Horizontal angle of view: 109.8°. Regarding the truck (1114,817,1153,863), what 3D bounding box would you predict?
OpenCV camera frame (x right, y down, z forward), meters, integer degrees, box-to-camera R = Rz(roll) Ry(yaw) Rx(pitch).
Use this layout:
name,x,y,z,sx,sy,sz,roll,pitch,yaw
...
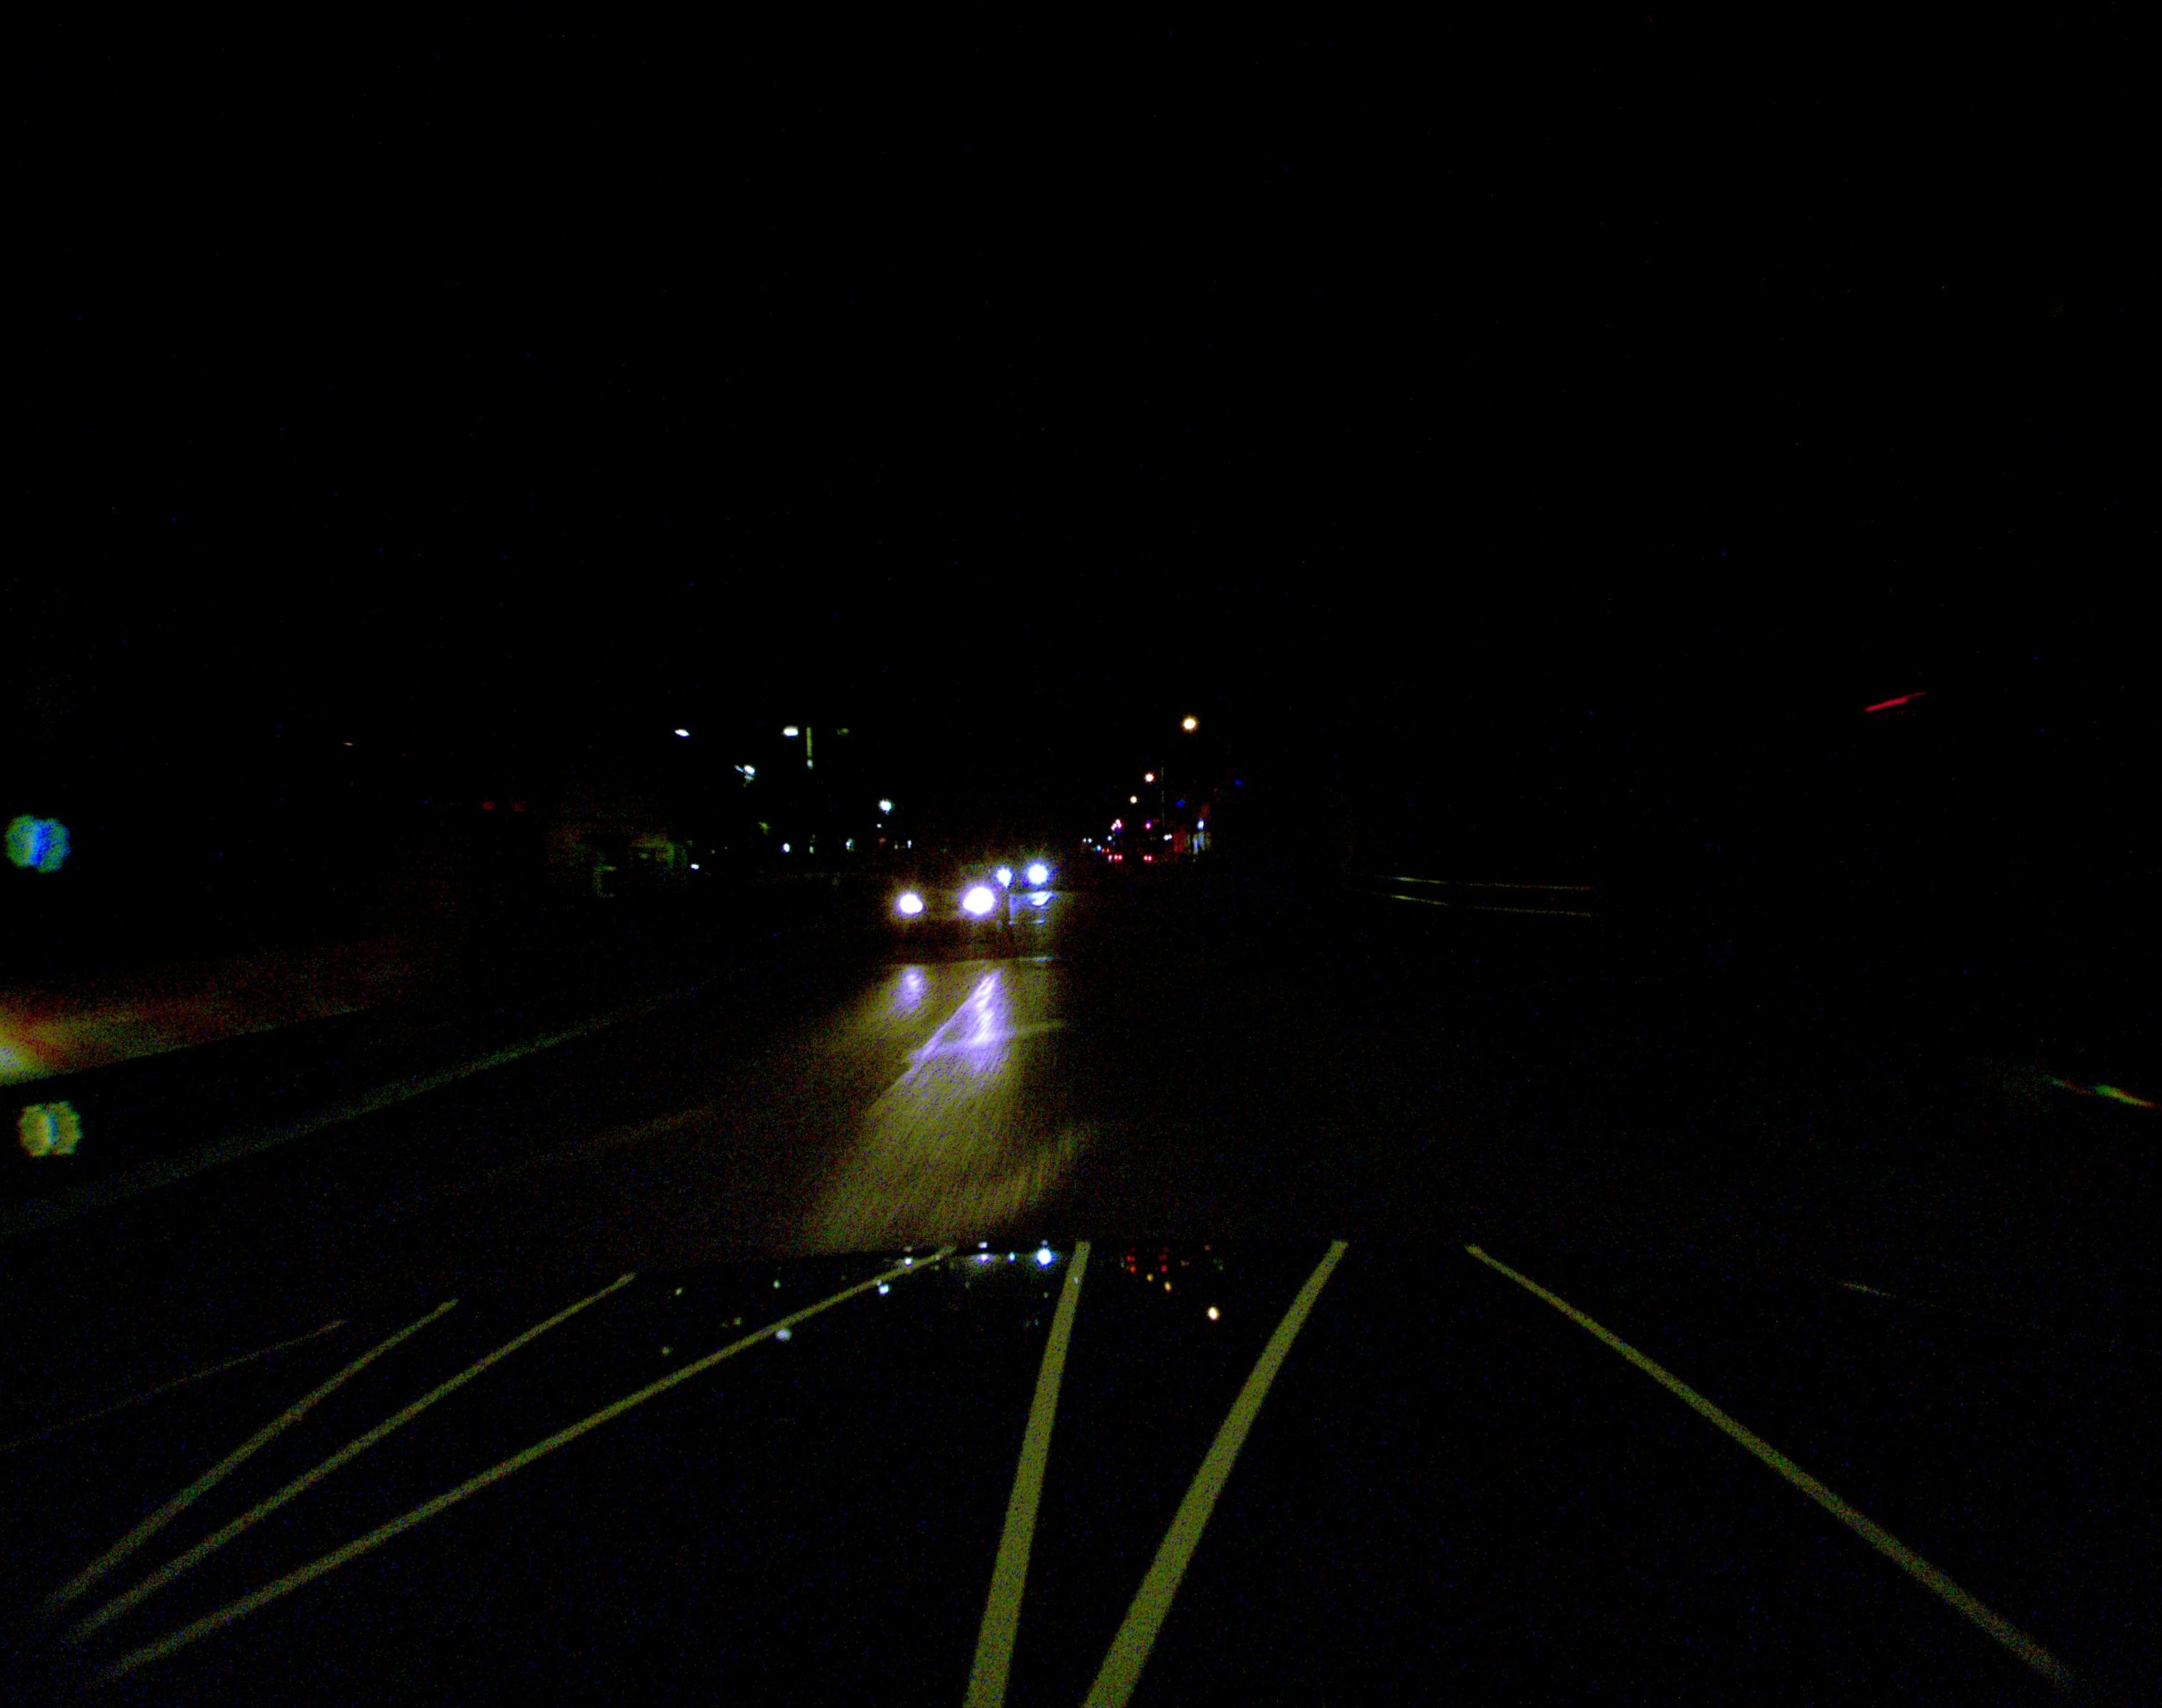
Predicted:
name,x,y,z,sx,sy,sz,roll,pitch,yaw
truck,4.487,-1.218,66.747,2.762,3.697,10.111,1,1,1

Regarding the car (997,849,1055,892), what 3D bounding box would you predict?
name,x,y,z,sx,sy,sz,roll,pitch,yaw
car,-2.226,0.628,31.983,1.809,1.485,4.729,-4,1,2

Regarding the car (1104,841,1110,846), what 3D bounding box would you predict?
name,x,y,z,sx,sy,sz,roll,pitch,yaw
car,7.276,-2.999,210.719,1.671,1.420,3.999,0,1,1

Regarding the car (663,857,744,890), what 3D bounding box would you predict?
name,x,y,z,sx,sy,sz,roll,pitch,yaw
car,-17.844,0.891,36.152,1.516,1.387,4.481,-1,1,2

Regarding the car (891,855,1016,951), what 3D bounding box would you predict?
name,x,y,z,sx,sy,sz,roll,pitch,yaw
car,-2.362,0.843,15.074,1.641,1.486,3.999,-3,1,1
